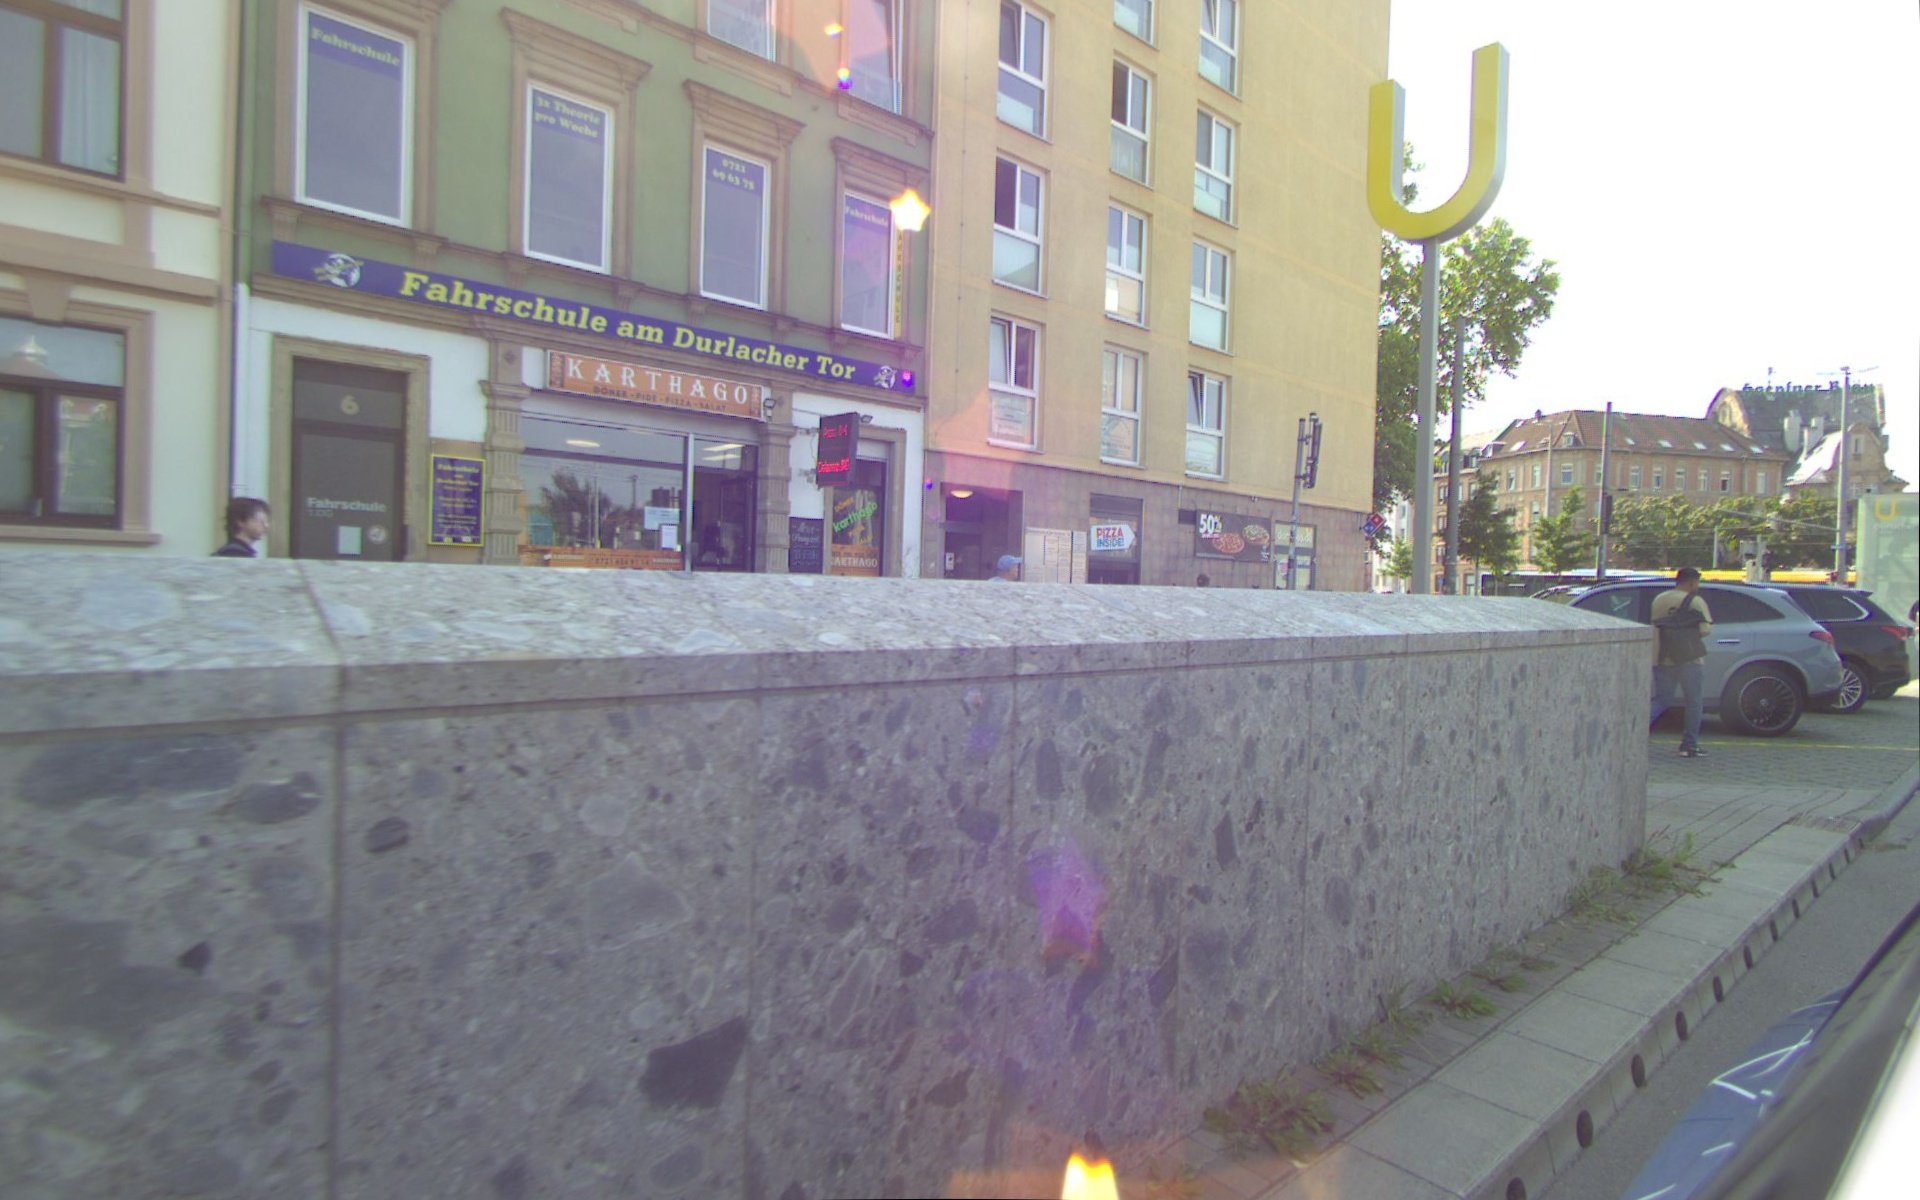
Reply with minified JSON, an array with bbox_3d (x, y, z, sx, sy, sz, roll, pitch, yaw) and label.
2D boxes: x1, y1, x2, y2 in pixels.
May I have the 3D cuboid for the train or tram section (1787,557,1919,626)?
[{"bbox_3d":[50.858,-0.432,53.601,2.542,3.604,12.240,2,2,-9],"label":"train or tram section"}]

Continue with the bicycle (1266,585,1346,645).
[{"bbox_3d":[7.601,0.323,22.245,1.513,1.254,0.593,2,1,-8],"label":"bicycle"}]

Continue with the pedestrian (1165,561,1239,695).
[{"bbox_3d":[3.092,0.323,12.869,0.841,1.601,0.966,2,2,16],"label":"pedestrian"}]

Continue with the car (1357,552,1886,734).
[{"bbox_3d":[7.276,0.404,11.669,4.587,1.735,2.040,2,1,8],"label":"car"}]

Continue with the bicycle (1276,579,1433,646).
[{"bbox_3d":[9.292,0.274,23.988,3.314,1.422,0.900,2,1,13],"label":"bicycle"}]

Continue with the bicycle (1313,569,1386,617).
[{"bbox_3d":[10.526,-0.204,27.377,1.721,1.221,0.580,3,2,43],"label":"bicycle"}]

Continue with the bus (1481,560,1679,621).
[{"bbox_3d":[35.480,-0.658,58.819,2.678,3.102,12.101,2,1,-7],"label":"bus"}]

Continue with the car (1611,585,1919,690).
[{"bbox_3d":[12.682,0.551,15.872,3.722,1.519,1.803,0,-1,9],"label":"car"}]

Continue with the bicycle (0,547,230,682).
[{"bbox_3d":[-8.110,0.134,9.109,2.426,1.161,0.481,3,0,-39],"label":"bicycle"}]

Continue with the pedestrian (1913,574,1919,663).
[{"bbox_3d":[20.301,0.387,20.896,0.800,1.831,0.820,1,0,-41],"label":"pedestrian"}]

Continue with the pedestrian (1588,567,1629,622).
[{"bbox_3d":[19.943,-0.186,31.118,0.934,1.628,0.792,0,3,-44],"label":"pedestrian"}]

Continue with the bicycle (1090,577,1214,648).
[{"bbox_3d":[3.660,0.227,19.192,2.378,1.254,0.941,1,1,-38],"label":"bicycle"}]

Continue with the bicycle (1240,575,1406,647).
[{"bbox_3d":[7.958,0.209,22.375,3.314,1.422,0.900,2,1,13],"label":"bicycle"}]

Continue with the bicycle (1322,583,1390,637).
[{"bbox_3d":[9.620,0.234,24.573,1.927,1.262,0.729,1,2,-42],"label":"bicycle"}]

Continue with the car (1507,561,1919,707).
[{"bbox_3d":[10.289,0.394,13.961,4.318,1.708,1.983,2,1,8],"label":"car"}]

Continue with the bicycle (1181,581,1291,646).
[{"bbox_3d":[5.733,0.269,20.942,2.378,1.254,0.941,1,1,-38],"label":"bicycle"}]

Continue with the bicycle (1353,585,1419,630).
[{"bbox_3d":[12.505,0.203,29.673,2.392,1.254,0.793,0,2,-42],"label":"bicycle"}]

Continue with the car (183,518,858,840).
[{"bbox_3d":[-2.586,0.358,6.383,3.556,1.458,1.634,2,1,-41],"label":"car"}]

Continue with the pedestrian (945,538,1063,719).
[{"bbox_3d":[0.442,0.260,10.109,0.926,1.706,0.672,1,2,-41],"label":"pedestrian"}]

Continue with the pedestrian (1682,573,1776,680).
[{"bbox_3d":[12.808,0.416,16.893,1.026,1.726,0.897,1,0,23],"label":"pedestrian"}]

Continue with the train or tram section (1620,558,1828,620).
[{"bbox_3d":[48.858,-0.843,65.508,2.542,3.604,12.240,2,2,-9],"label":"train or tram section"}]

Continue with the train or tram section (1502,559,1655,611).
[{"bbox_3d":[47.047,-1.264,77.733,2.542,3.604,12.240,2,2,-9],"label":"train or tram section"}]

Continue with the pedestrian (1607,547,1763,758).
[{"bbox_3d":[6.519,0.458,9.112,0.855,1.774,0.869,2,-3,-32],"label":"pedestrian"}]

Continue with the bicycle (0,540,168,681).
[{"bbox_3d":[-8.179,0.082,8.960,1.815,1.198,0.459,0,2,-41],"label":"bicycle"}]

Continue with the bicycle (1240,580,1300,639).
[{"bbox_3d":[6.964,0.208,22.691,1.797,1.254,0.409,1,1,-44],"label":"bicycle"}]

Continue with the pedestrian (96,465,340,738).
[{"bbox_3d":[-4.746,-0.016,6.528,0.841,1.601,0.966,2,2,16],"label":"pedestrian"}]
